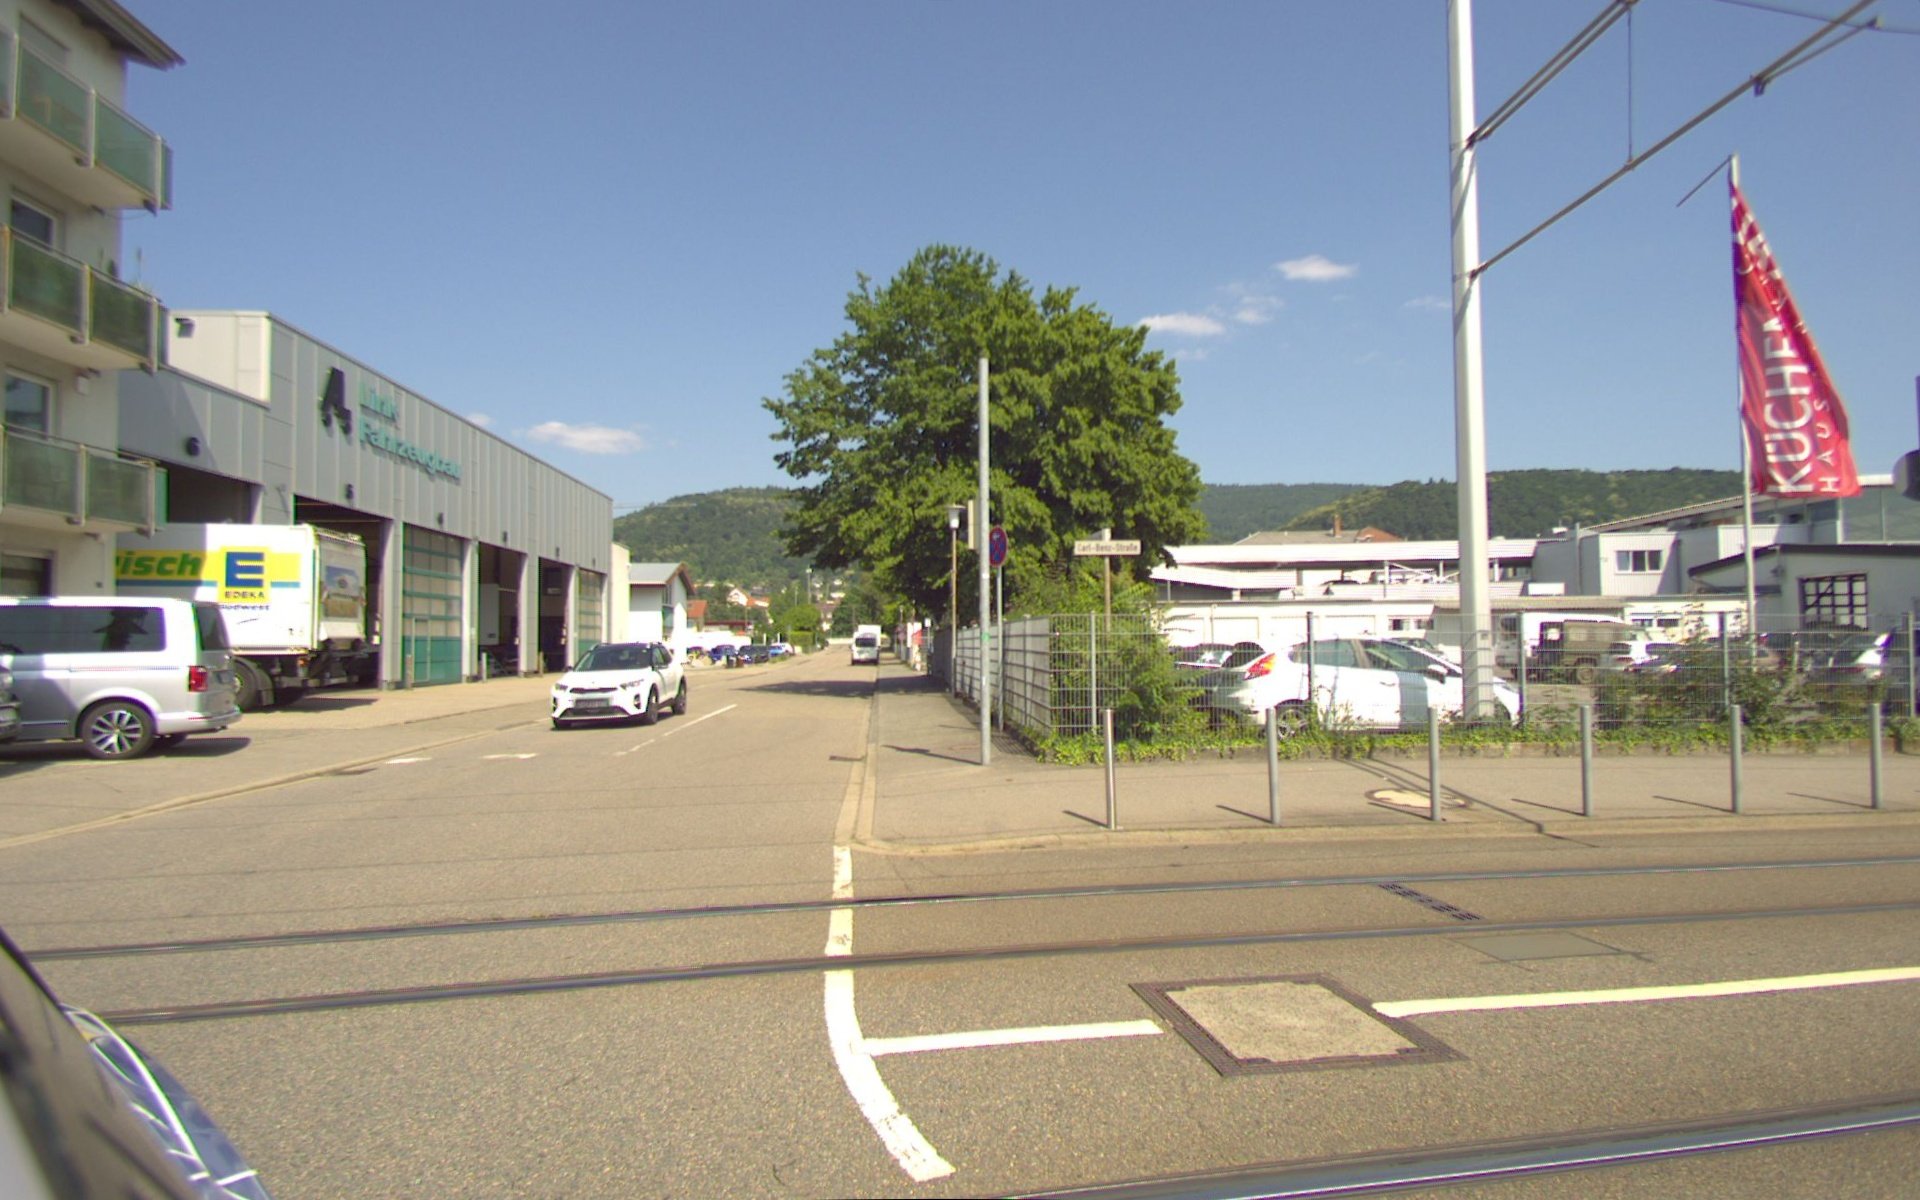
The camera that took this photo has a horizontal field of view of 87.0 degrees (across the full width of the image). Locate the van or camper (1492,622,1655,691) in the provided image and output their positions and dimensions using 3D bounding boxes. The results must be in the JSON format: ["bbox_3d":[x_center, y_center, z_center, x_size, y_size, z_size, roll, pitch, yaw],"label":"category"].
[{"bbox_3d":[21.586,1.968,35.749,4.540,2.323,1.780,-1,-2,3],"label":"van or camper"}]

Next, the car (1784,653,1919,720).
[{"bbox_3d":[20.433,1.821,21.622,3.951,1.369,1.843,-1,-3,7],"label":"car"}]

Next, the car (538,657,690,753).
[{"bbox_3d":[-6.342,1.876,19.015,1.711,1.542,4.113,0,-3,-4],"label":"car"}]

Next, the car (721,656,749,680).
[{"bbox_3d":[-13.916,4.216,62.668,1.430,1.389,3.192,0,-2,-8],"label":"car"}]

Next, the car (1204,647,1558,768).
[{"bbox_3d":[5.371,1.362,13.259,3.897,1.444,1.714,0,-2,-2],"label":"car"}]

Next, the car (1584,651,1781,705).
[{"bbox_3d":[21.813,2.352,30.731,4.369,1.569,1.989,0,-3,5],"label":"car"}]

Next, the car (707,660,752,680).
[{"bbox_3d":[-16.268,4.944,71.455,2.933,1.350,1.454,0,-3,-3],"label":"car"}]

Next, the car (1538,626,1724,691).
[{"bbox_3d":[21.812,1.925,33.067,4.521,2.029,2.055,-1,-3,5],"label":"car"}]

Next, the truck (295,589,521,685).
[{"bbox_3d":[-22.565,1.554,41.691,7.744,3.811,2.626,0,-3,-3],"label":"truck"}]

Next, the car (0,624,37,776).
[{"bbox_3d":[-11.430,0.984,9.356,3.905,1.533,1.886,1,-3,-29],"label":"car"}]

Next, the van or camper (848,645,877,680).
[{"bbox_3d":[-7.084,4.486,73.498,1.999,2.395,4.690,1,-2,-5],"label":"van or camper"}]

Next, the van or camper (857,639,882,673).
[{"bbox_3d":[-9.288,5.686,103.907,2.489,3.396,5.597,0,-3,-5],"label":"van or camper"}]

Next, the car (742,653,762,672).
[{"bbox_3d":[-18.146,5.431,88.220,1.428,1.507,3.196,-2,-2,-15],"label":"car"}]

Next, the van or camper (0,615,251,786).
[{"bbox_3d":[-11.483,1.177,12.183,4.477,1.922,2.006,2,-4,-24],"label":"van or camper"}]

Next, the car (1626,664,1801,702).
[{"bbox_3d":[20.953,2.302,28.277,3.445,0.991,1.746,-1,-3,7],"label":"car"}]

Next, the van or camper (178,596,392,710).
[{"bbox_3d":[-20.135,1.568,30.409,4.981,3.230,2.002,-1,-2,-6],"label":"van or camper"}]

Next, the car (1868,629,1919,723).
[{"bbox_3d":[20.327,1.447,19.296,3.951,1.798,1.996,-1,-3,7],"label":"car"}]

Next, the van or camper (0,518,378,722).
[{"bbox_3d":[-18.256,0.413,19.864,11.447,3.721,2.787,1,-3,-11],"label":"van or camper"}]

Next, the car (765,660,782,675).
[{"bbox_3d":[-18.910,6.868,102.731,1.430,1.389,3.192,-2,-2,-8],"label":"car"}]
